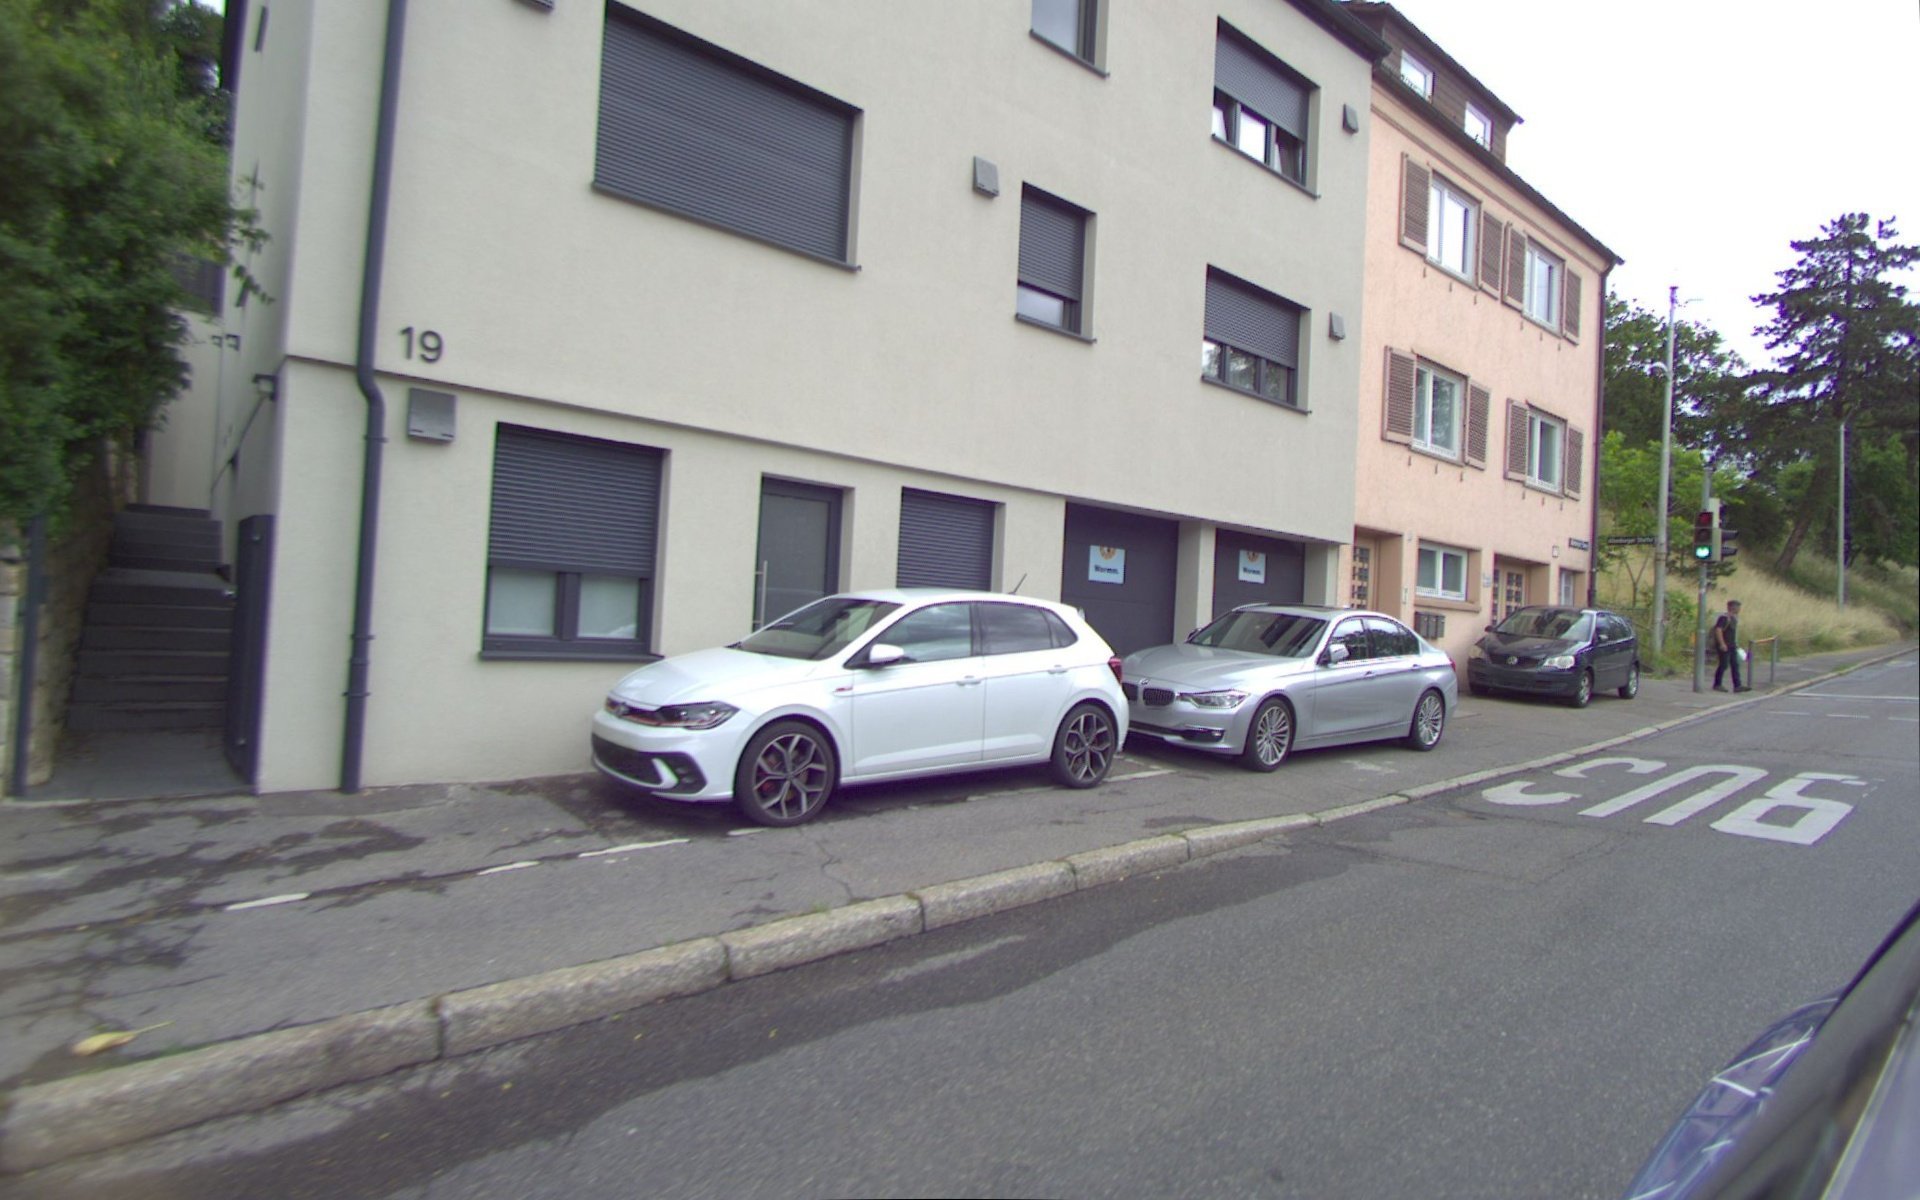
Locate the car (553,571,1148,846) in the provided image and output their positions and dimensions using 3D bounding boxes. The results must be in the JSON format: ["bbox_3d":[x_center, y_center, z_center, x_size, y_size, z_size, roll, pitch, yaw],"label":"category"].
[{"bbox_3d":[-0.655,0.598,7.375,3.931,1.441,1.799,1,2,-38],"label":"car"}]

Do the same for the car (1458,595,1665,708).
[{"bbox_3d":[9.718,0.738,16.240,3.931,1.468,1.685,1,4,-42],"label":"car"}]

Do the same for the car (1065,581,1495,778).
[{"bbox_3d":[3.393,0.692,10.257,4.631,1.468,1.800,2,3,-39],"label":"car"}]

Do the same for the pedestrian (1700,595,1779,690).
[{"bbox_3d":[14.611,0.778,18.998,0.860,1.718,0.885,0,-1,15],"label":"pedestrian"}]
